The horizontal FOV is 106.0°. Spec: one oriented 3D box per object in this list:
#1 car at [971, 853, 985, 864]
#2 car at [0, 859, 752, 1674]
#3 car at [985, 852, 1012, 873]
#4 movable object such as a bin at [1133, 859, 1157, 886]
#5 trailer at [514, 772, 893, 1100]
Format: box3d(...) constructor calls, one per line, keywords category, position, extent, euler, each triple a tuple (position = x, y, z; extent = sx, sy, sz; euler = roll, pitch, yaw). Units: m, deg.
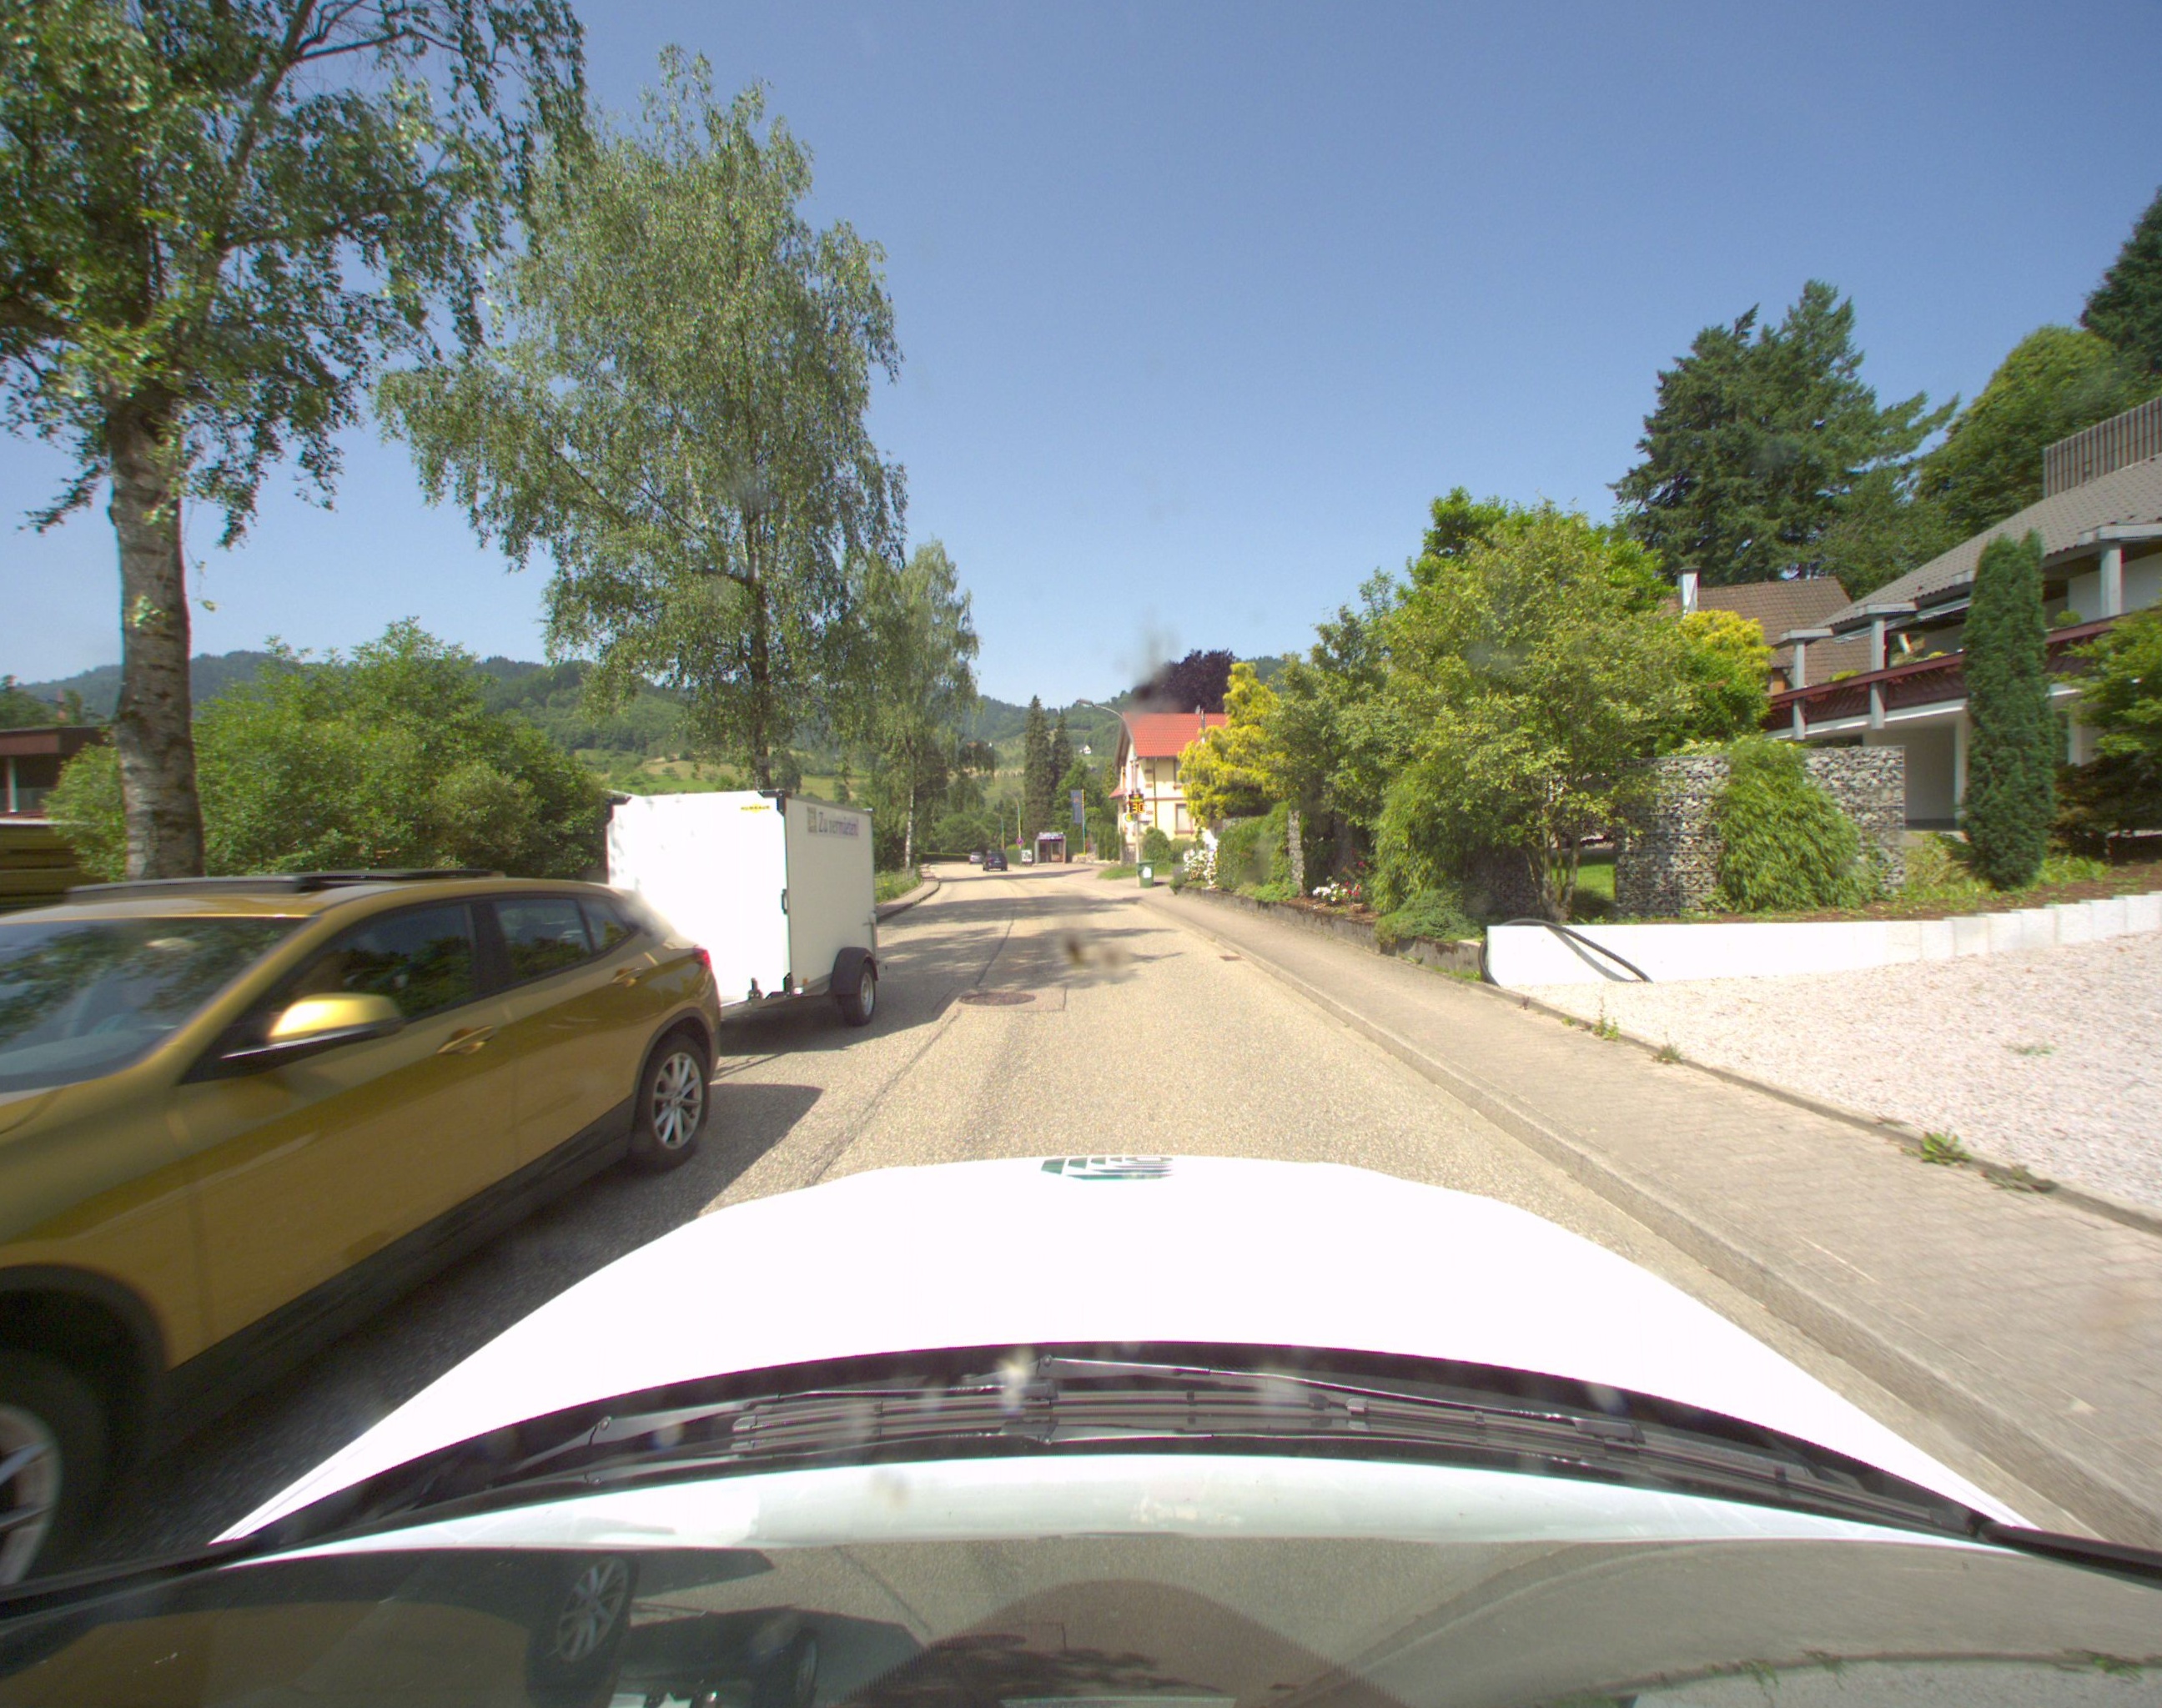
box3d(category="car", position=(-12.764, 0.548, 100.805), extent=(1.626, 1.422, 3.392), euler=(-1, 0, -5))
box3d(category="car", position=(-2.936, 0.827, 2.763), extent=(1.807, 1.500, 4.150), euler=(-3, 0, 1))
box3d(category="car", position=(-7.079, 0.733, 69.699), extent=(1.920, 1.698, 3.774), euler=(-2, 0, -11))
box3d(category="movable object such as a bin", position=(2.541, 0.727, 32.205), extent=(0.808, 1.042, 0.578), euler=(-2, 0, -6))
box3d(category="trailer", position=(-2.891, 0.533, 7.155), extent=(1.461, 2.077, 3.671), euler=(-3, 0, 1))
